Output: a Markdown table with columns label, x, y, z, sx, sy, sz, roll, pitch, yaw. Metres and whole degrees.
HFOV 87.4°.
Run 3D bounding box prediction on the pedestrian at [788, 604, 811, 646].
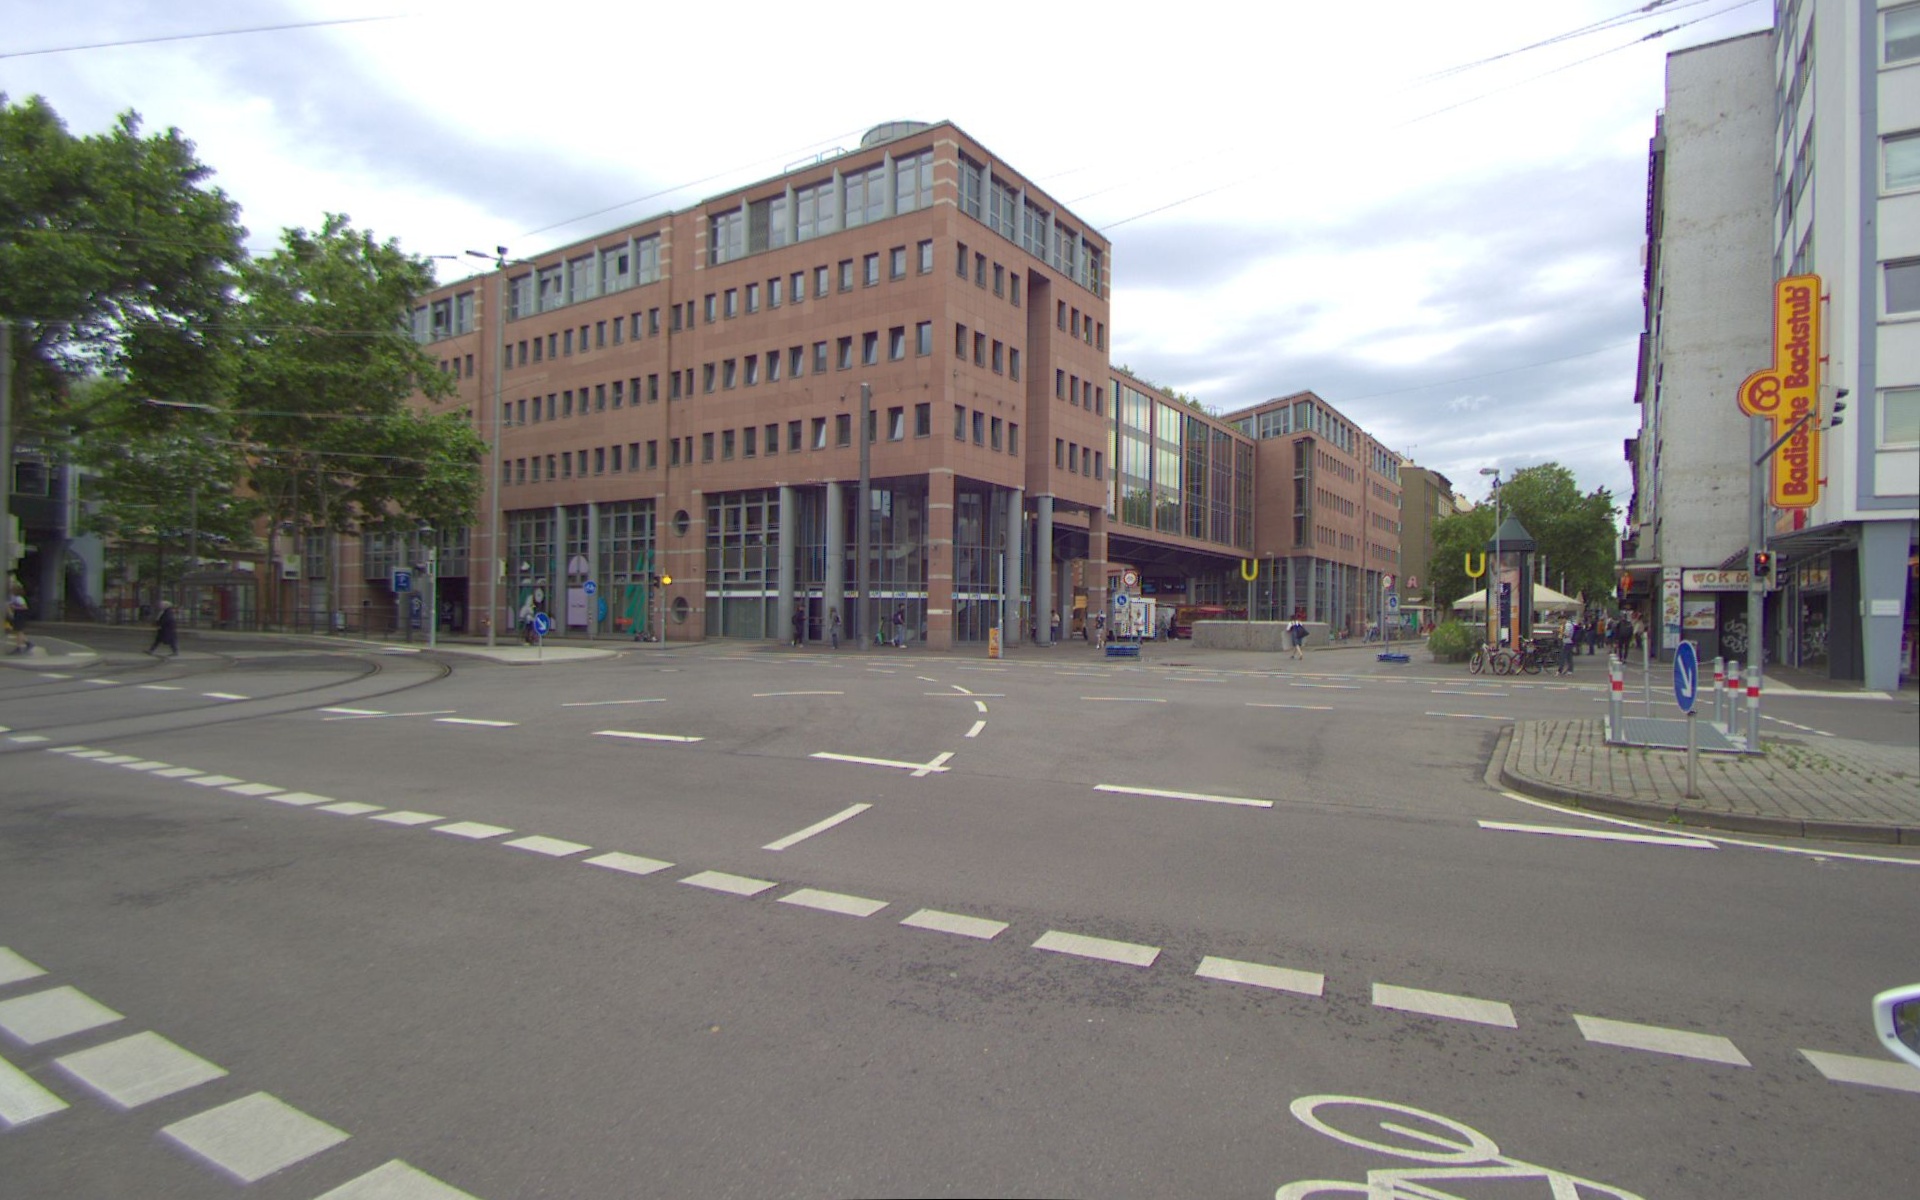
| label | x | y | z | sx | sy | sz | roll | pitch | yaw |
| --- | --- | --- | --- | --- | --- | --- | --- | --- | --- |
| pedestrian | -6.706 | 1.039 | 42.021 | 0.729 | 1.710 | 0.575 | 2 | -1 | 8 |

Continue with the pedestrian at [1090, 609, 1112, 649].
| label | x | y | z | sx | sy | sz | roll | pitch | yaw |
| --- | --- | --- | --- | --- | --- | --- | --- | --- | --- |
| pedestrian | 6.847 | 1.404 | 48.732 | 0.728 | 1.866 | 0.694 | 2 | 0 | -40 |

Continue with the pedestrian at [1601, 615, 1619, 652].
| label | x | y | z | sx | sy | sz | roll | pitch | yaw |
| --- | --- | --- | --- | --- | --- | --- | --- | --- | --- |
| pedestrian | 32.397 | 1.669 | 50.100 | 0.727 | 1.846 | 0.661 | 0 | -1 | 32 |

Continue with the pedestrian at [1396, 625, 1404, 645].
| label | x | y | z | sx | sy | sz | roll | pitch | yaw |
| --- | --- | --- | --- | --- | --- | --- | --- | --- | --- |
| pedestrian | 38.783 | 3.081 | 88.602 | 0.591 | 1.737 | 0.655 | 2 | 0 | 27 |

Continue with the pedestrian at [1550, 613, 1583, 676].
| label | x | y | z | sx | sy | sz | roll | pitch | yaw |
| --- | --- | --- | --- | --- | --- | --- | --- | --- | --- |
| pedestrian | 17.475 | 1.266 | 28.972 | 0.721 | 1.769 | 0.662 | 2 | 0 | 26 |

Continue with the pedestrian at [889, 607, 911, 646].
| label | x | y | z | sx | sy | sz | roll | pitch | yaw |
| --- | --- | --- | --- | --- | --- | --- | --- | --- | --- |
| pedestrian | -2.483 | 1.107 | 41.736 | 0.729 | 1.581 | 0.575 | 2 | -1 | 8 |

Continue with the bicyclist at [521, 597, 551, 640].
| label | x | y | z | sx | sy | sz | roll | pitch | yaw |
| --- | --- | --- | --- | --- | --- | --- | --- | --- | --- |
| bicyclist | -18.500 | 0.814 | 43.808 | 0.863 | 1.836 | 0.834 | 2 | 0 | 37 |

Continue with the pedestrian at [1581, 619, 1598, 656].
| label | x | y | z | sx | sy | sz | roll | pitch | yaw |
| --- | --- | --- | --- | --- | --- | --- | --- | --- | --- |
| pedestrian | 30.007 | 1.802 | 47.879 | 0.634 | 1.727 | 0.557 | 2 | 0 | 35 |

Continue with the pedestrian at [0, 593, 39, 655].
| label | x | y | z | sx | sy | sz | roll | pitch | yaw |
| --- | --- | --- | --- | --- | --- | --- | --- | --- | --- |
| pedestrian | -25.555 | 0.658 | 27.226 | 0.563 | 1.633 | 0.629 | 2 | -1 | 26 |

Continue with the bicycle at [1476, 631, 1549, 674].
| label | x | y | z | sx | sy | sz | roll | pitch | yaw |
| --- | --- | --- | --- | --- | --- | --- | --- | --- | --- |
| bicycle | 16.523 | 1.561 | 30.087 | 1.836 | 1.187 | 0.531 | 2 | 0 | 20 |

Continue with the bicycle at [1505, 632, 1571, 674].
| label | x | y | z | sx | sy | sz | roll | pitch | yaw |
| --- | --- | --- | --- | --- | --- | --- | --- | --- | --- |
| bicycle | 17.432 | 1.589 | 30.308 | 1.670 | 1.187 | 0.437 | 2 | 0 | 28 |

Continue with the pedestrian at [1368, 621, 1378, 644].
| label | x | y | z | sx | sy | sz | roll | pitch | yaw |
| --- | --- | --- | --- | --- | --- | --- | --- | --- | --- |
| pedestrian | 28.111 | 2.196 | 68.362 | 0.591 | 1.557 | 0.655 | 2 | 0 | 27 |

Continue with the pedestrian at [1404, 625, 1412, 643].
| label | x | y | z | sx | sy | sz | roll | pitch | yaw |
| --- | --- | --- | --- | --- | --- | --- | --- | --- | --- |
| pedestrian | 42.760 | 3.223 | 95.840 | 0.591 | 1.737 | 0.655 | 2 | 0 | 27 |

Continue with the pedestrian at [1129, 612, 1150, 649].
| label | x | y | z | sx | sy | sz | roll | pitch | yaw |
| --- | --- | --- | --- | --- | --- | --- | --- | --- | --- |
| pedestrian | 9.156 | 1.535 | 51.324 | 0.727 | 1.866 | 0.695 | 2 | 0 | -36 |

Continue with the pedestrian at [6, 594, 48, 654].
| label | x | y | z | sx | sy | sz | roll | pitch | yaw |
| --- | --- | --- | --- | --- | --- | --- | --- | --- | --- |
| pedestrian | -25.910 | 0.671 | 27.895 | 0.563 | 1.633 | 0.629 | 2 | -1 | 26 |

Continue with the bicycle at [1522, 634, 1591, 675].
| label | x | y | z | sx | sy | sz | roll | pitch | yaw |
| --- | --- | --- | --- | --- | --- | --- | --- | --- | --- |
| bicycle | 17.473 | 1.585 | 29.461 | 1.676 | 1.080 | 0.435 | 1 | 0 | 41 |

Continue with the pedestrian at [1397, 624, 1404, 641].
| label | x | y | z | sx | sy | sz | roll | pitch | yaw |
| --- | --- | --- | --- | --- | --- | --- | --- | --- | --- |
| pedestrian | 45.454 | 3.314 | 103.754 | 0.591 | 1.737 | 0.655 | 2 | 0 | 27 |

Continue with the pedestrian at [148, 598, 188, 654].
| label | x | y | z | sx | sy | sz | roll | pitch | yaw |
| --- | --- | --- | --- | --- | --- | --- | --- | --- | --- |
| pedestrian | -23.139 | 0.765 | 29.344 | 0.565 | 1.581 | 0.741 | 1 | -2 | 39 |

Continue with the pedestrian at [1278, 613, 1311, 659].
| label | x | y | z | sx | sy | sz | roll | pitch | yaw |
| --- | --- | --- | --- | --- | --- | --- | --- | --- | --- |
| pedestrian | 12.863 | 1.380 | 38.609 | 0.727 | 1.727 | 0.919 | 2 | 0 | -36 |

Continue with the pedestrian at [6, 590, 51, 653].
| label | x | y | z | sx | sy | sz | roll | pitch | yaw |
| --- | --- | --- | --- | --- | --- | --- | --- | --- | --- |
| pedestrian | -24.241 | 0.557 | 26.148 | 0.563 | 1.595 | 0.629 | 2 | -1 | 26 |

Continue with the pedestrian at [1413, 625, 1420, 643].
| label | x | y | z | sx | sy | sz | roll | pitch | yaw |
| --- | --- | --- | --- | --- | --- | --- | --- | --- | --- |
| pedestrian | 44.273 | 3.305 | 97.403 | 0.591 | 1.737 | 0.655 | 2 | 0 | 27 |

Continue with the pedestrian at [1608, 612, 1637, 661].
| label | x | y | z | sx | sy | sz | roll | pitch | yaw |
| --- | --- | --- | --- | --- | --- | --- | --- | --- | --- |
| pedestrian | 24.347 | 1.336 | 36.908 | 0.729 | 1.727 | 0.703 | 2 | 0 | -44 |

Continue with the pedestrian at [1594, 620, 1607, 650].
| label | x | y | z | sx | sy | sz | roll | pitch | yaw |
| --- | --- | --- | --- | --- | --- | --- | --- | --- | --- |
| pedestrian | 37.566 | 2.045 | 58.891 | 0.603 | 1.727 | 0.617 | 2 | 0 | 35 |

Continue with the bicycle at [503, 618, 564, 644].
| label | x | y | z | sx | sy | sz | roll | pitch | yaw |
| --- | --- | --- | --- | --- | --- | --- | --- | --- | --- |
| bicycle | -18.578 | 1.332 | 43.744 | 3.224 | 1.058 | 0.901 | 1 | -1 | 36 |

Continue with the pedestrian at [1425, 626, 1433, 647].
| label | x | y | z | sx | sy | sz | roll | pitch | yaw |
| --- | --- | --- | --- | --- | --- | --- | --- | --- | --- |
| pedestrian | 39.047 | 3.059 | 83.613 | 0.591 | 1.737 | 0.655 | 2 | 0 | 27 |
